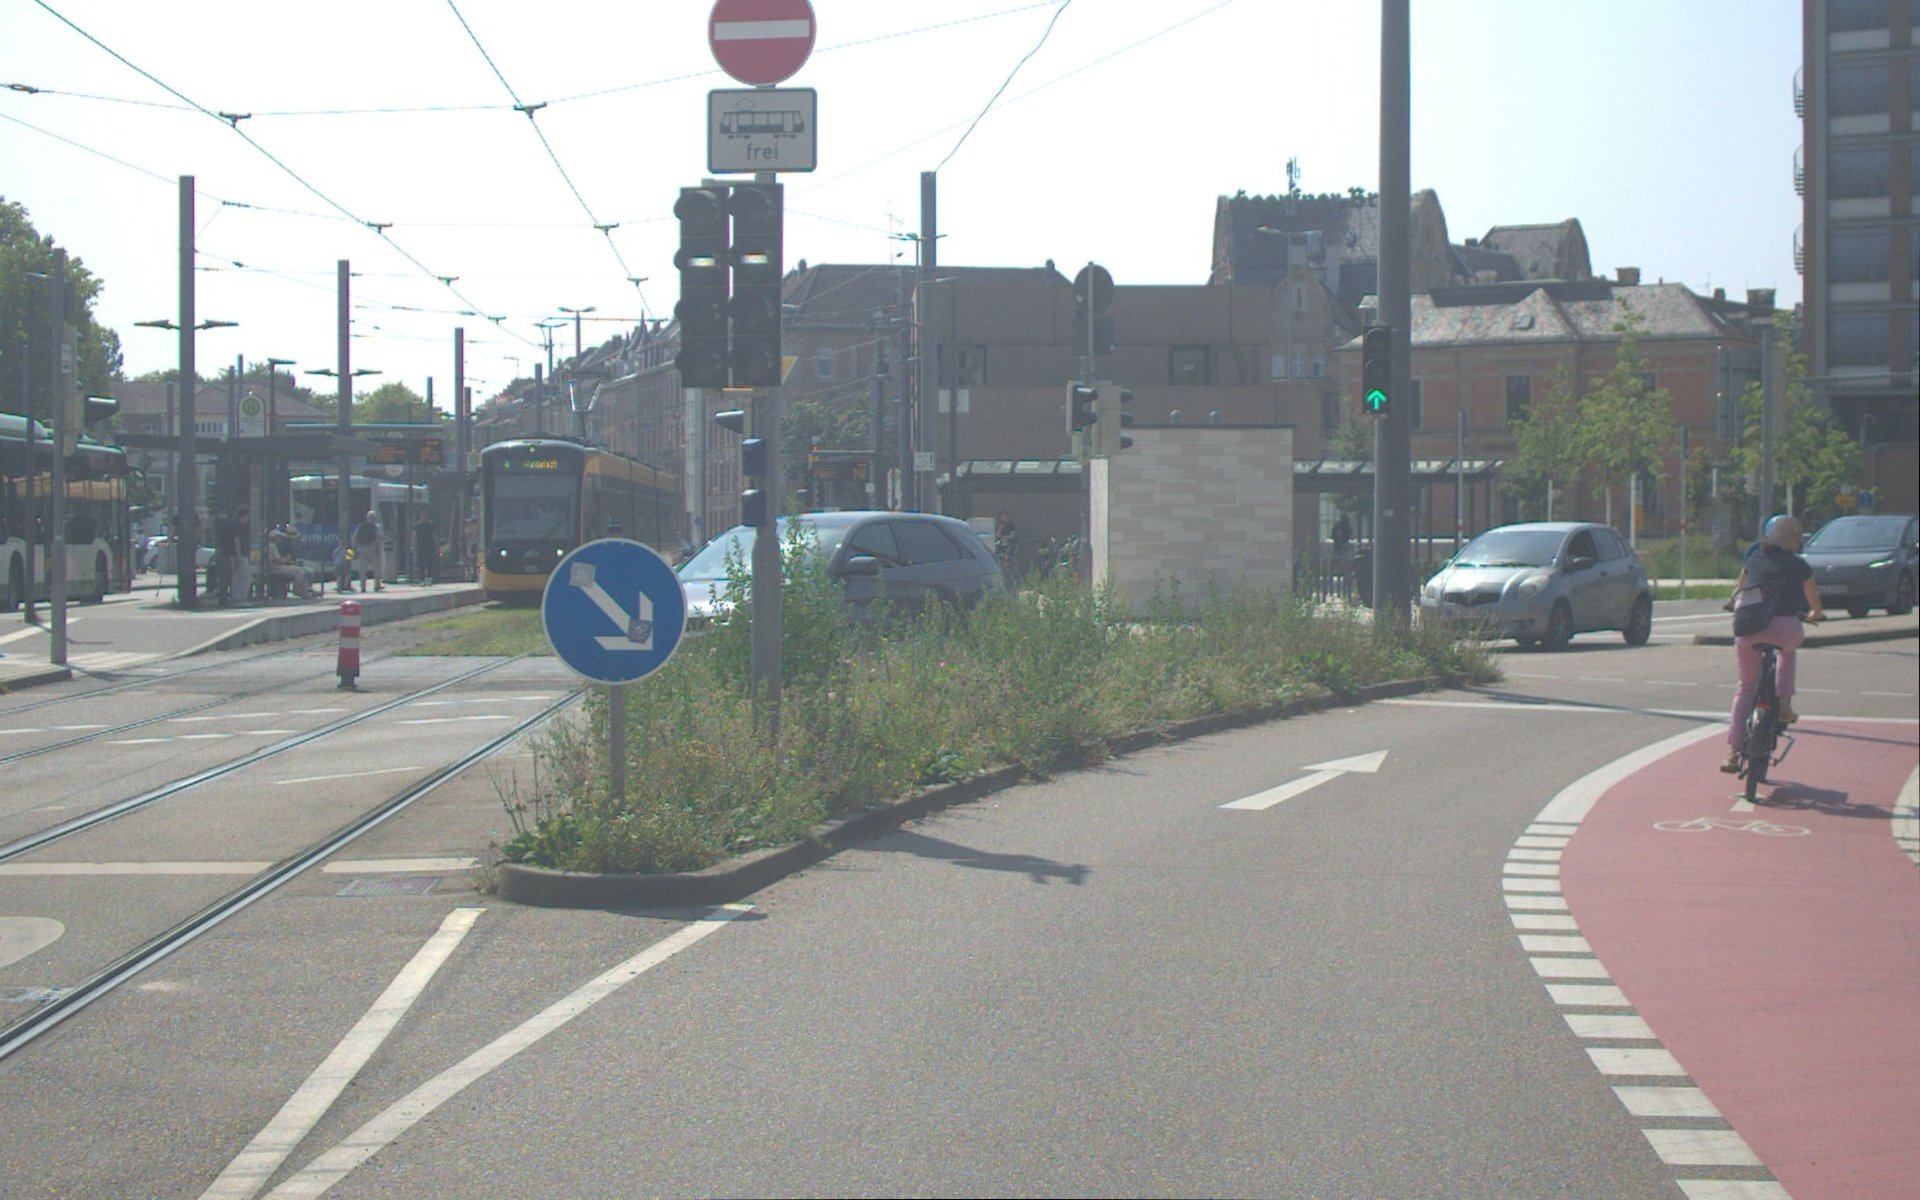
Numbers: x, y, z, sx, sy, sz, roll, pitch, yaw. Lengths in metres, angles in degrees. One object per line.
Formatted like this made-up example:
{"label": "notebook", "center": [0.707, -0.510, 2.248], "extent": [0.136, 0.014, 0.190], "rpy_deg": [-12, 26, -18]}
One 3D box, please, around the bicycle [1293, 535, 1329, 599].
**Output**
{"label": "bicycle", "center": [6.836, -0.649, 66.911], "extent": [0.604, 1.206, 1.810], "rpy_deg": [0, 1, 9]}

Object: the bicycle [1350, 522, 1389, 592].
{"label": "bicycle", "center": [7.147, -0.753, 59.934], "extent": [0.604, 1.206, 1.810], "rpy_deg": [0, 1, 9]}

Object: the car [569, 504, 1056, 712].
{"label": "car", "center": [-1.138, 0.006, 29.025], "extent": [1.775, 1.605, 4.665], "rpy_deg": [1, 1, 32]}

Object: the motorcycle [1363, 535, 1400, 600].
{"label": "motorcycle", "center": [8.050, -0.630, 65.607], "extent": [0.604, 1.206, 2.253], "rpy_deg": [0, 1, 9]}

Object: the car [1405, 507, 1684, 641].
{"label": "car", "center": [7.096, -0.350, 41.400], "extent": [1.654, 1.525, 4.317], "rpy_deg": [1, 1, 35]}

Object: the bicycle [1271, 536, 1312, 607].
{"label": "bicycle", "center": [5.821, -0.511, 60.274], "extent": [0.604, 1.206, 1.810], "rpy_deg": [0, 1, 9]}

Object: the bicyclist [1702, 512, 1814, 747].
{"label": "bicyclist", "center": [4.626, 0.158, 19.908], "extent": [0.603, 1.330, 0.659], "rpy_deg": [0, 1, 15]}

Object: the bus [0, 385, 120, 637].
{"label": "bus", "center": [-15.936, -1.408, 54.702], "extent": [2.957, 3.762, 10.598], "rpy_deg": [1, 1, -2]}

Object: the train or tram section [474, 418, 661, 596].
{"label": "train or tram section", "center": [-8.664, -2.037, 78.025], "extent": [2.856, 3.536, 17.745], "rpy_deg": [1, 1, -2]}

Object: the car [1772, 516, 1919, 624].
{"label": "car", "center": [13.537, -0.475, 50.716], "extent": [1.699, 1.525, 4.175], "rpy_deg": [1, 1, 33]}

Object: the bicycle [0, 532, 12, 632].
{"label": "bicycle", "center": [-12.023, -0.205, 41.522], "extent": [0.607, 1.218, 1.705], "rpy_deg": [0, 1, 2]}

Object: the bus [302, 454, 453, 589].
{"label": "bus", "center": [-16.907, -2.268, 100.414], "extent": [2.709, 3.714, 10.420], "rpy_deg": [1, 1, 0]}

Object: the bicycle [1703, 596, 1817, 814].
{"label": "bicycle", "center": [4.650, 0.578, 19.923], "extent": [0.604, 1.159, 1.809], "rpy_deg": [0, 1, 14]}
